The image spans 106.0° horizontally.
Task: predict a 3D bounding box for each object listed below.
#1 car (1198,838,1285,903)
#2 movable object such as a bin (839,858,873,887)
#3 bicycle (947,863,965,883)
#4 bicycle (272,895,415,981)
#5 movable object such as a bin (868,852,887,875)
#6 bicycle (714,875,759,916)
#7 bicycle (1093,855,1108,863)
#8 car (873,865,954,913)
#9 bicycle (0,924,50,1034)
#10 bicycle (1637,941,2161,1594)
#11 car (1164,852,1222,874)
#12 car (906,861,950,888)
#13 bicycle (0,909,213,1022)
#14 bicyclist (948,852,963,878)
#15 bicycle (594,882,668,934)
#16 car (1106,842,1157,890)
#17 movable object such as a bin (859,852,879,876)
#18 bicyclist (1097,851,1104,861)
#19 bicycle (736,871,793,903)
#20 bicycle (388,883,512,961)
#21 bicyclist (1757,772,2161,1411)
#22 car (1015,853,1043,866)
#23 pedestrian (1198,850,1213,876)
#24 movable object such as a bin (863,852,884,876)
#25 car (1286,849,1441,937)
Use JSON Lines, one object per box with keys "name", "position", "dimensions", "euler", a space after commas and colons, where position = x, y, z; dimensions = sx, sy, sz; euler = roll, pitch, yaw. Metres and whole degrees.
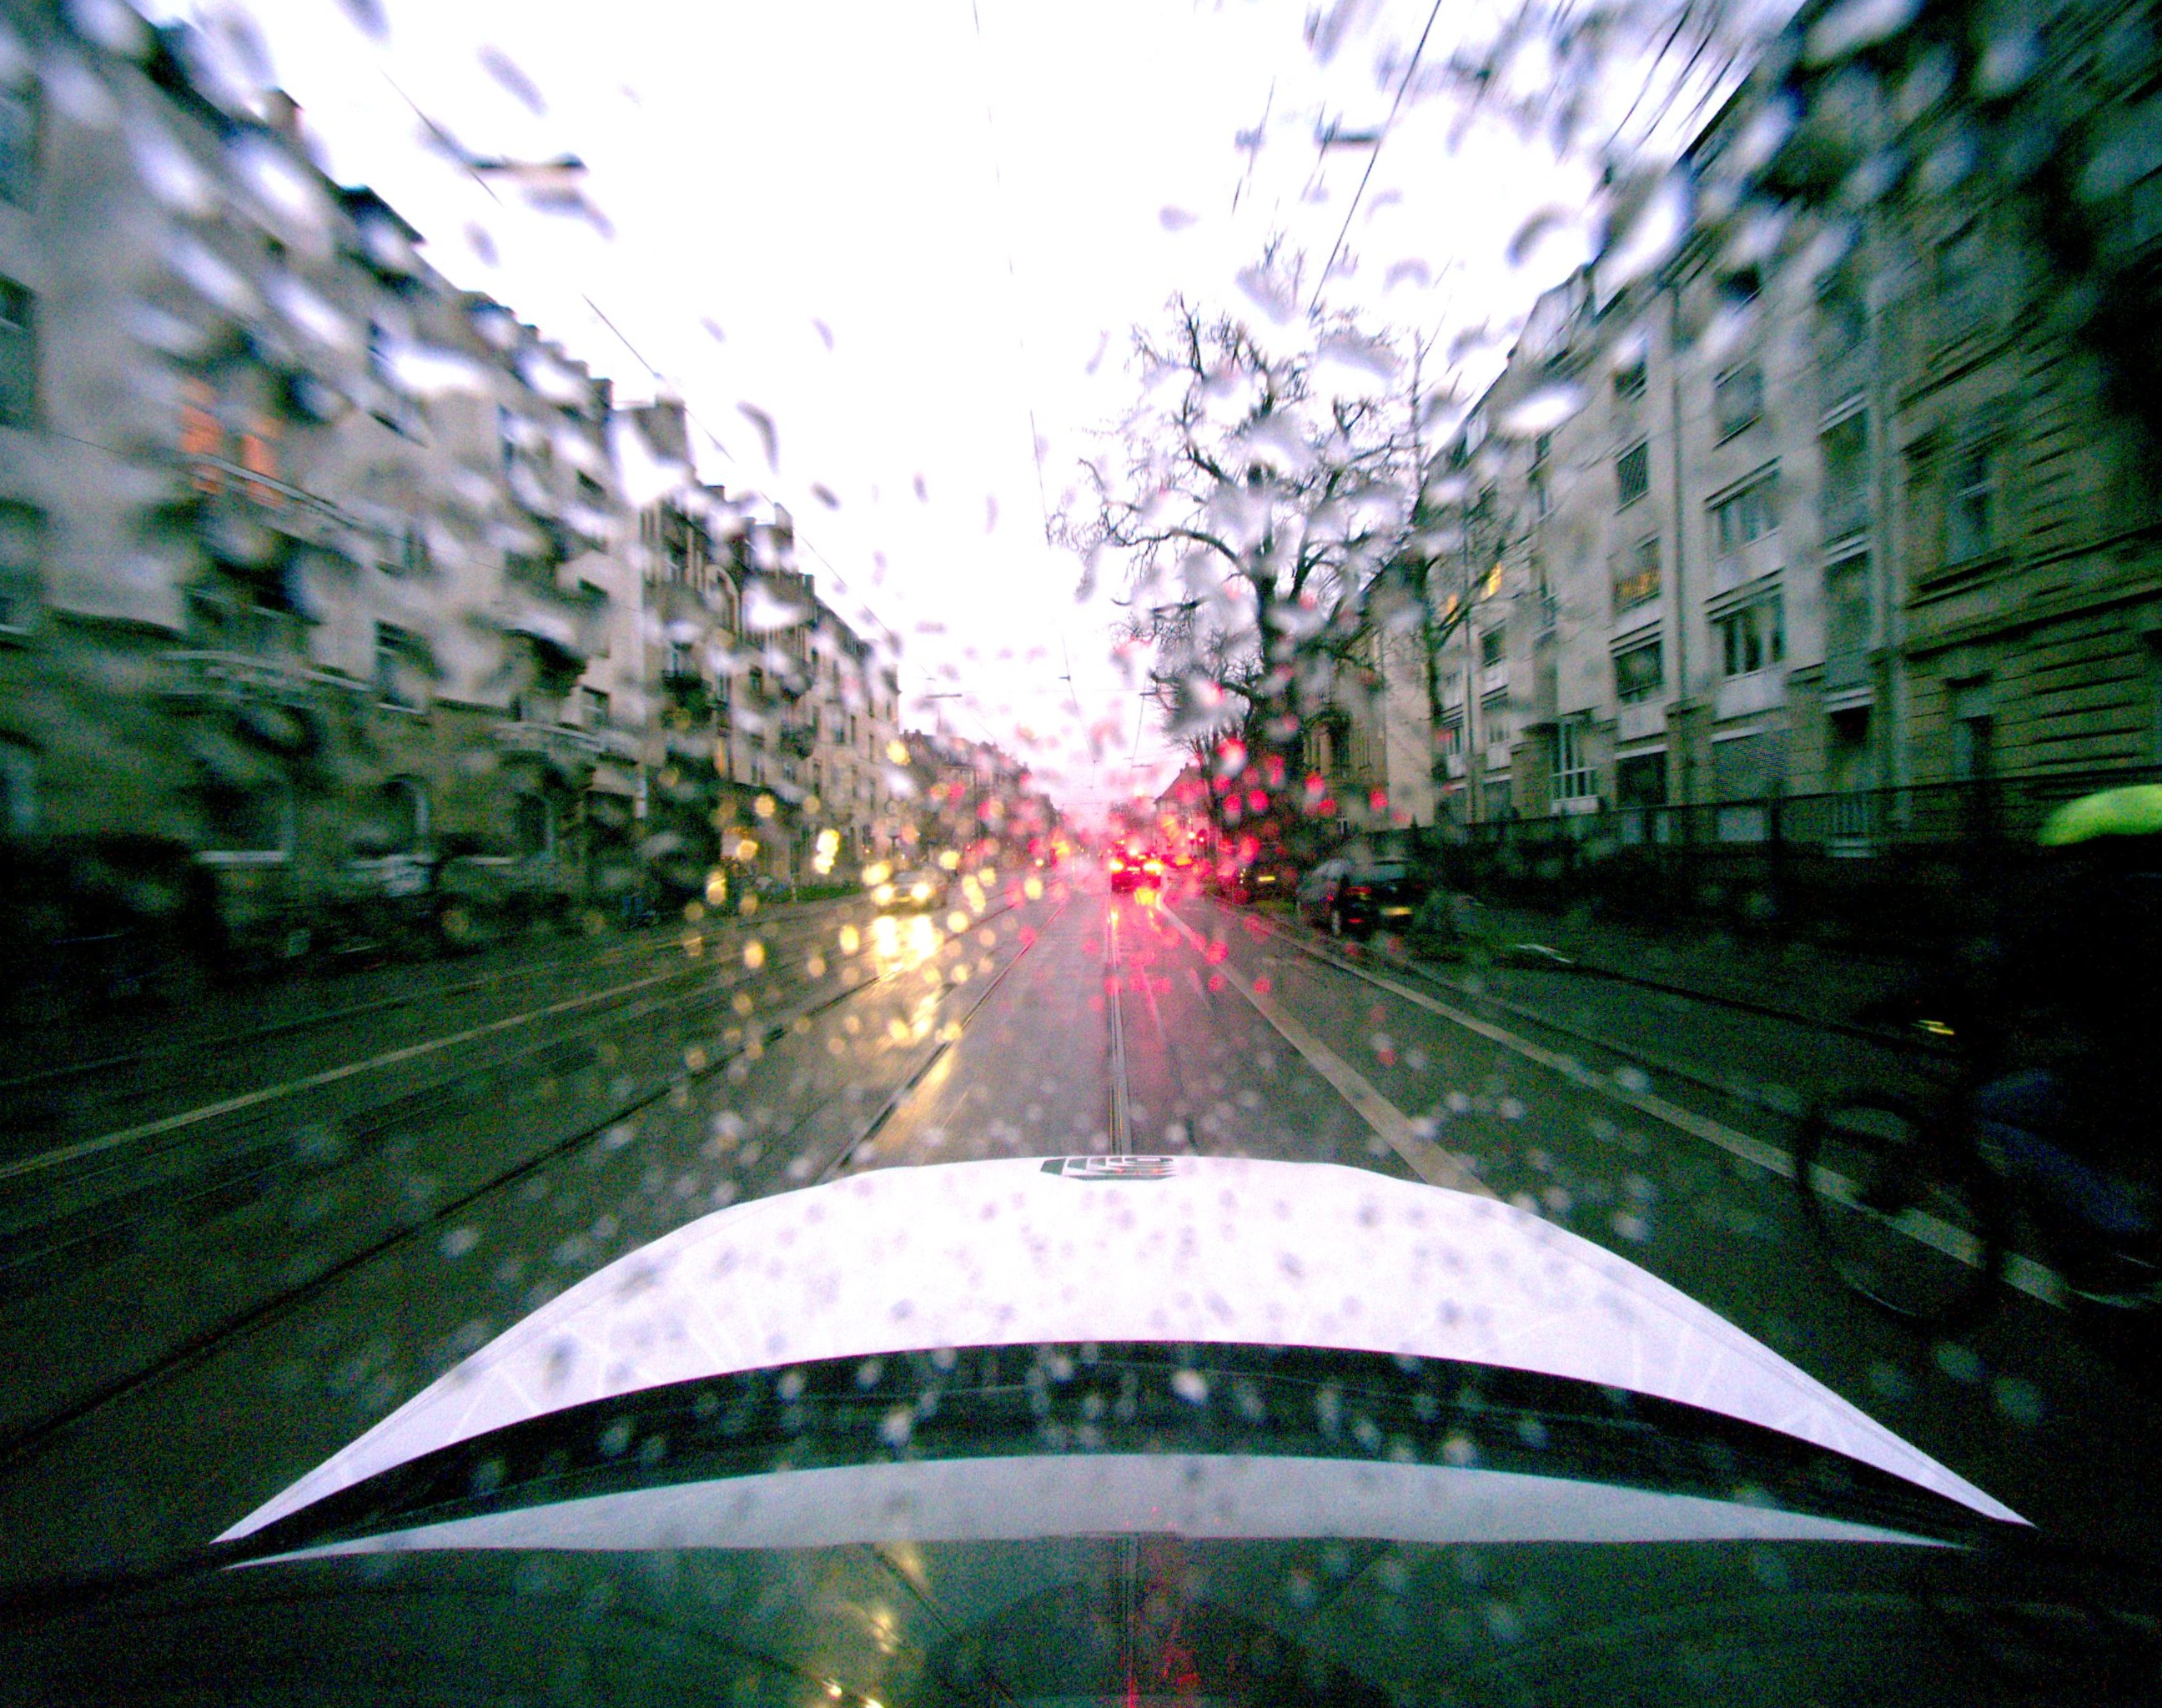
{"name": "car", "position": [5.300, 0.468, 27.543], "dimensions": [1.986, 1.900, 5.028], "euler": [-2, 1, 1]}
{"name": "movable object such as a bin", "position": [-12.521, 1.031, 45.308], "dimensions": [1.404, 1.530, 1.365], "euler": [-2, 1, 1]}
{"name": "bicycle", "position": [-7.790, 1.186, 50.806], "dimensions": [0.713, 1.110, 2.065], "euler": [-2, 1, 2]}
{"name": "bicycle", "position": [-10.421, 1.151, 11.582], "dimensions": [0.691, 1.031, 1.592], "euler": [-2, -1, -7]}
{"name": "movable object such as a bin", "position": [-14.658, 0.674, 58.736], "dimensions": [1.009, 1.600, 1.082], "euler": [-2, 1, 4]}
{"name": "bicycle", "position": [-10.223, 1.224, 24.239], "dimensions": [0.613, 1.080, 1.809], "euler": [-2, 1, -3]}
{"name": "bicycle", "position": [2.920, 0.745, 122.739], "dimensions": [2.106, 1.133, 0.555], "euler": [-2, 1, -13]}
{"name": "car", "position": [-5.091, 1.028, 25.205], "dimensions": [1.655, 1.198, 3.874], "euler": [-2, 1, 0]}
{"name": "bicycle", "position": [-10.575, 1.183, 7.278], "dimensions": [0.690, 1.031, 1.594], "euler": [-3, -4, -3]}
{"name": "bicycle", "position": [2.585, 0.932, 2.332], "dimensions": [0.704, 1.096, 2.032], "euler": [-2, 1, 5]}
{"name": "car", "position": [10.058, 0.755, 73.198], "dimensions": [4.959, 1.716, 1.687], "euler": [-3, 1, -18]}
{"name": "car", "position": [-9.513, 1.228, 50.907], "dimensions": [1.826, 1.447, 4.002], "euler": [-2, 1, 2]}
{"name": "bicycle", "position": [-10.691, 1.170, 8.956], "dimensions": [0.691, 1.031, 1.592], "euler": [-2, -1, -7]}
{"name": "bicyclist", "position": [-7.819, 0.669, 50.883], "dimensions": [0.713, 1.602, 0.931], "euler": [-2, 1, 2]}
{"name": "bicycle", "position": [-10.168, 1.195, 18.487], "dimensions": [0.623, 1.017, 1.805], "euler": [-3, 0, 0]}
{"name": "car", "position": [2.118, 0.509, 35.282], "dimensions": [1.986, 1.897, 4.759], "euler": [-1, -1, 1]}
{"name": "movable object such as a bin", "position": [-14.640, 0.703, 56.296], "dimensions": [1.009, 1.600, 1.082], "euler": [-2, 1, 4]}
{"name": "bicyclist", "position": [2.921, 0.315, 122.735], "dimensions": [0.823, 1.376, 0.555], "euler": [-2, 1, -12]}
{"name": "bicycle", "position": [-11.602, 1.210, 29.856], "dimensions": [1.802, 1.080, 0.615], "euler": [-2, 1, -6]}
{"name": "bicycle", "position": [-10.338, 1.078, 13.434], "dimensions": [0.484, 1.099, 1.931], "euler": [-3, 0, 0]}
{"name": "bicyclist", "position": [2.555, 0.528, 2.256], "dimensions": [0.653, 1.446, 0.850], "euler": [-2, 1, 4]}
{"name": "car", "position": [-7.796, 0.777, 121.265], "dimensions": [3.983, 1.716, 1.899], "euler": [-2, 1, -7]}
{"name": "pedestrian", "position": [10.076, 0.717, 65.913], "dimensions": [1.019, 2.013, 0.919], "euler": [-2, 1, -2]}
{"name": "movable object such as a bin", "position": [-14.661, 0.690, 57.547], "dimensions": [1.009, 1.600, 1.156], "euler": [-2, 1, 4]}
{"name": "car", "position": [5.386, 0.660, 16.058], "dimensions": [1.671, 1.460, 4.043], "euler": [-2, 0, 1]}
